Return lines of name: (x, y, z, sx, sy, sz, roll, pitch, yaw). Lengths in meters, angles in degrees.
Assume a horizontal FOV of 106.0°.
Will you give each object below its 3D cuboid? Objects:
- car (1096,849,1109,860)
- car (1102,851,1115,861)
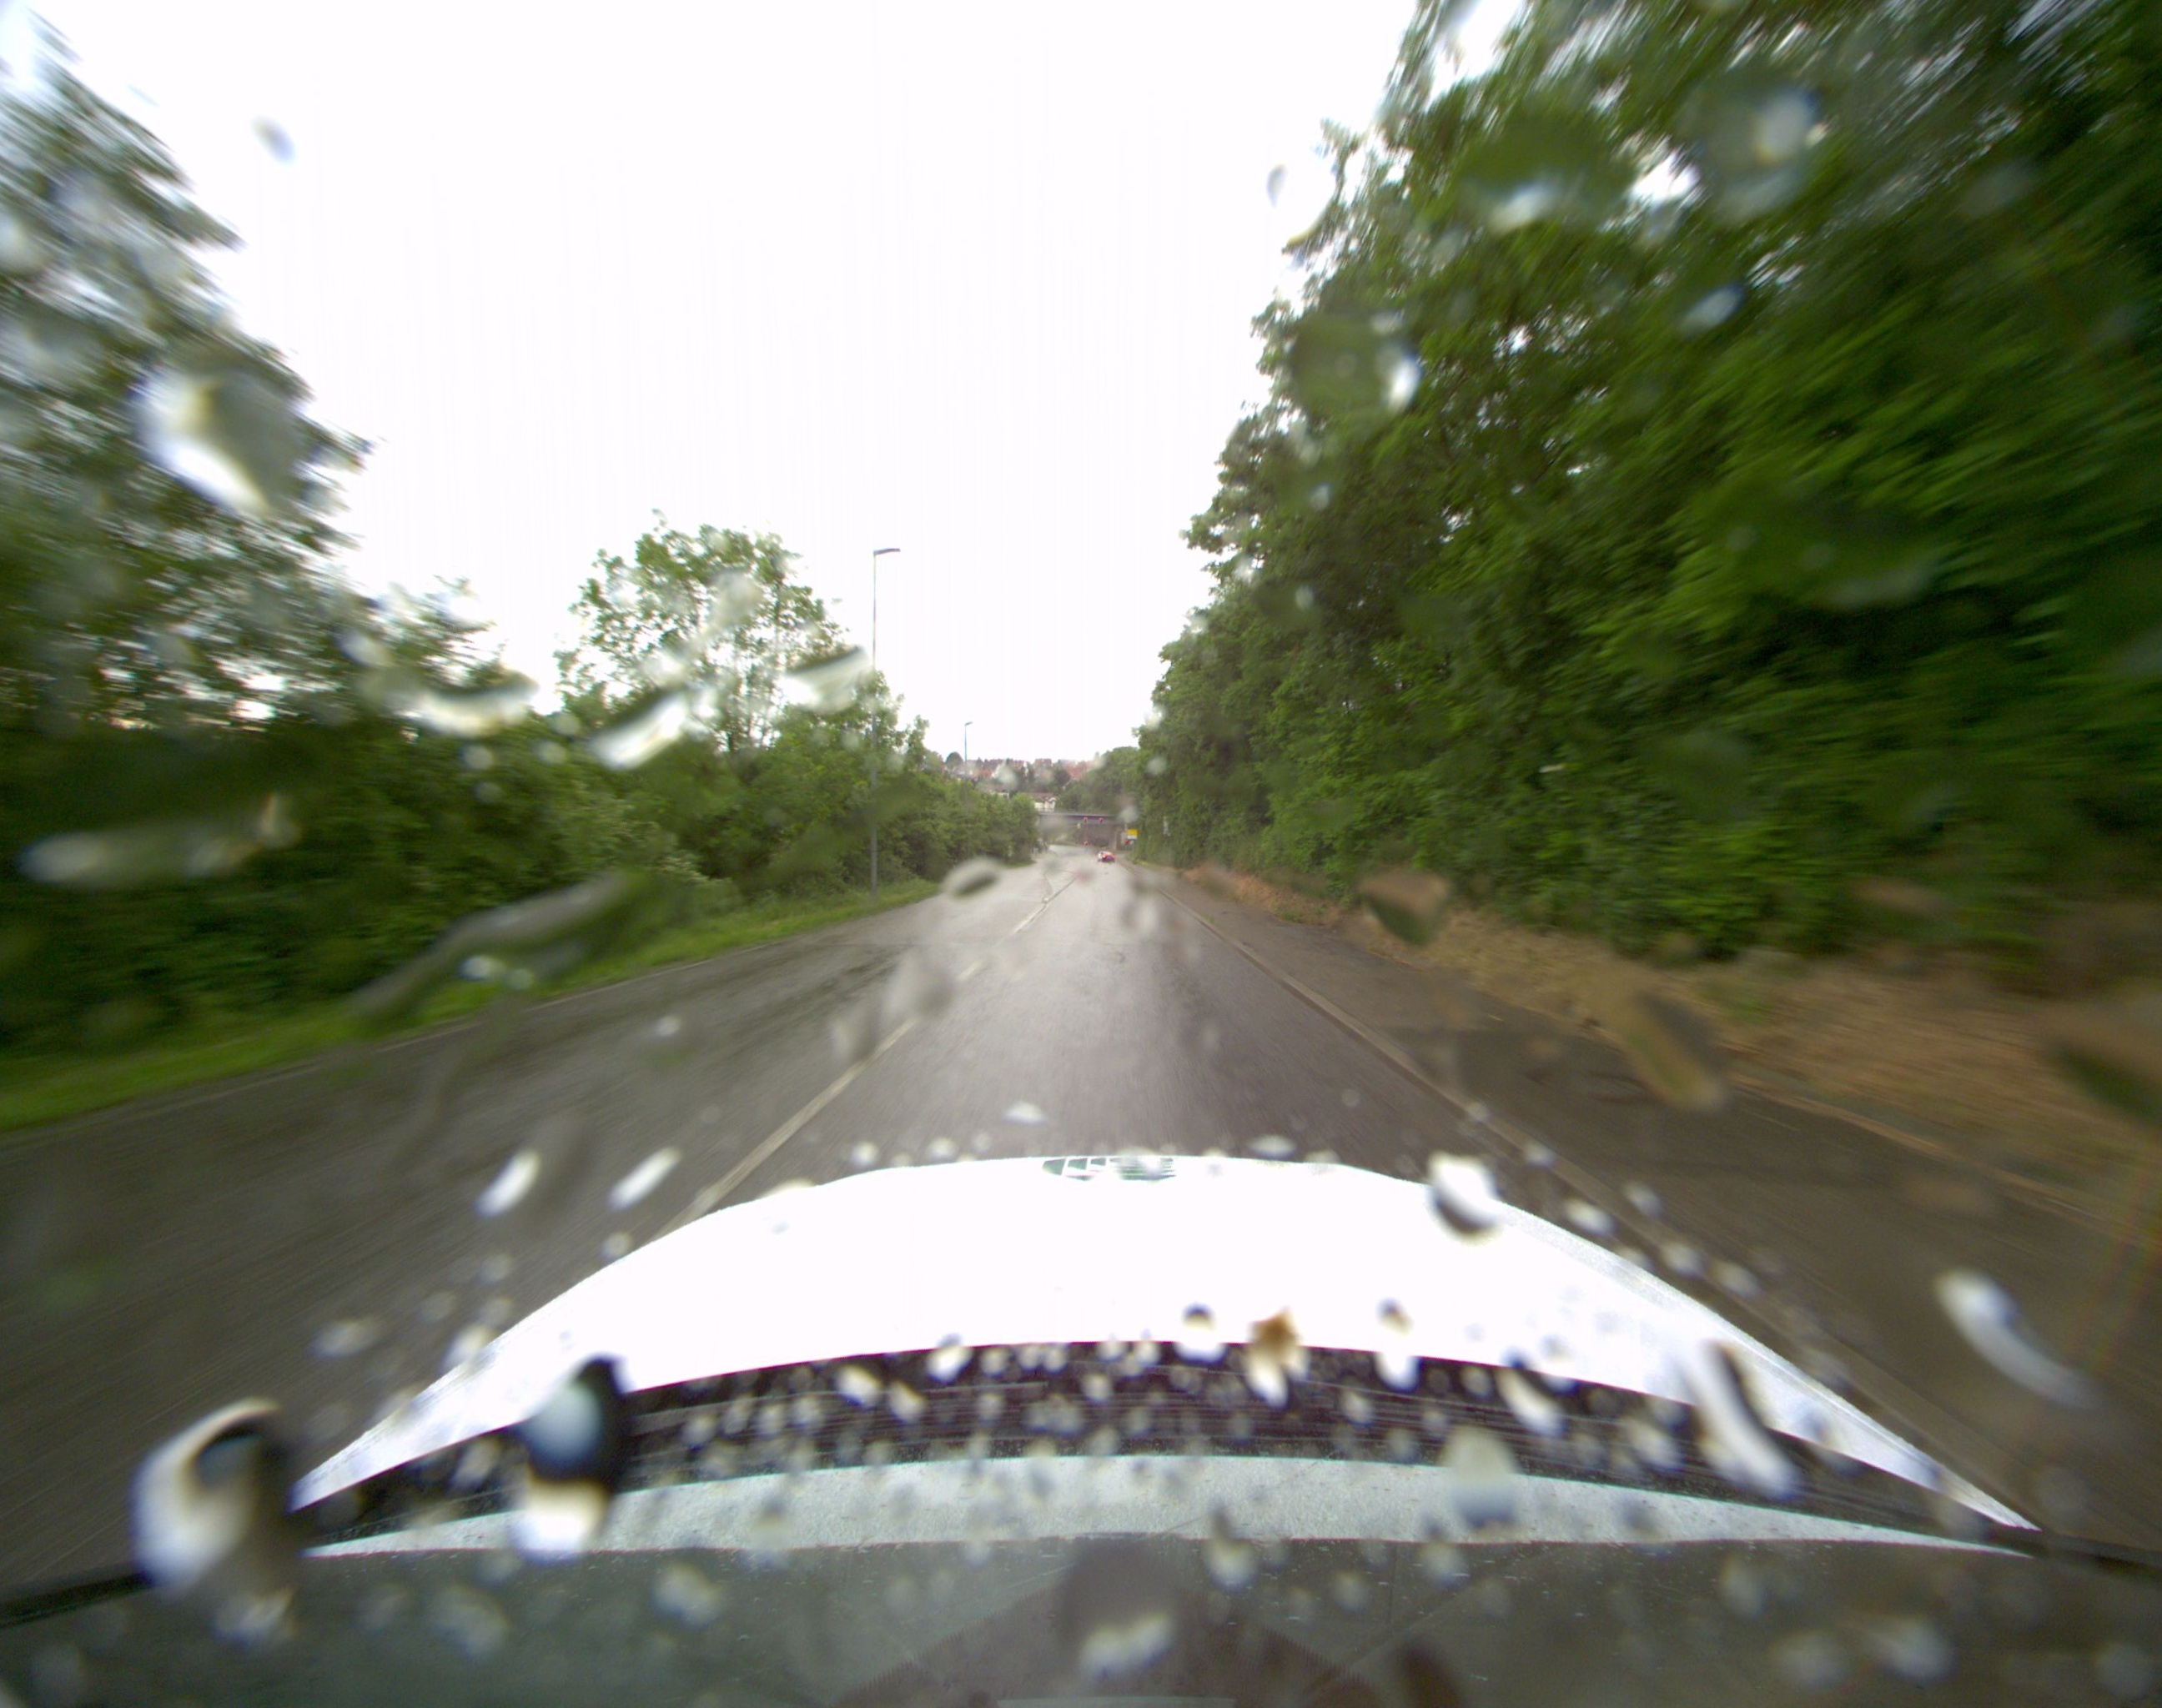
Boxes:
car: (3.220, 0.078, 122.117, 1.761, 1.563, 4.002, -1, 0, 2)
car: (3.944, 0.249, 115.438, 1.761, 1.380, 4.002, -1, 0, 2)
